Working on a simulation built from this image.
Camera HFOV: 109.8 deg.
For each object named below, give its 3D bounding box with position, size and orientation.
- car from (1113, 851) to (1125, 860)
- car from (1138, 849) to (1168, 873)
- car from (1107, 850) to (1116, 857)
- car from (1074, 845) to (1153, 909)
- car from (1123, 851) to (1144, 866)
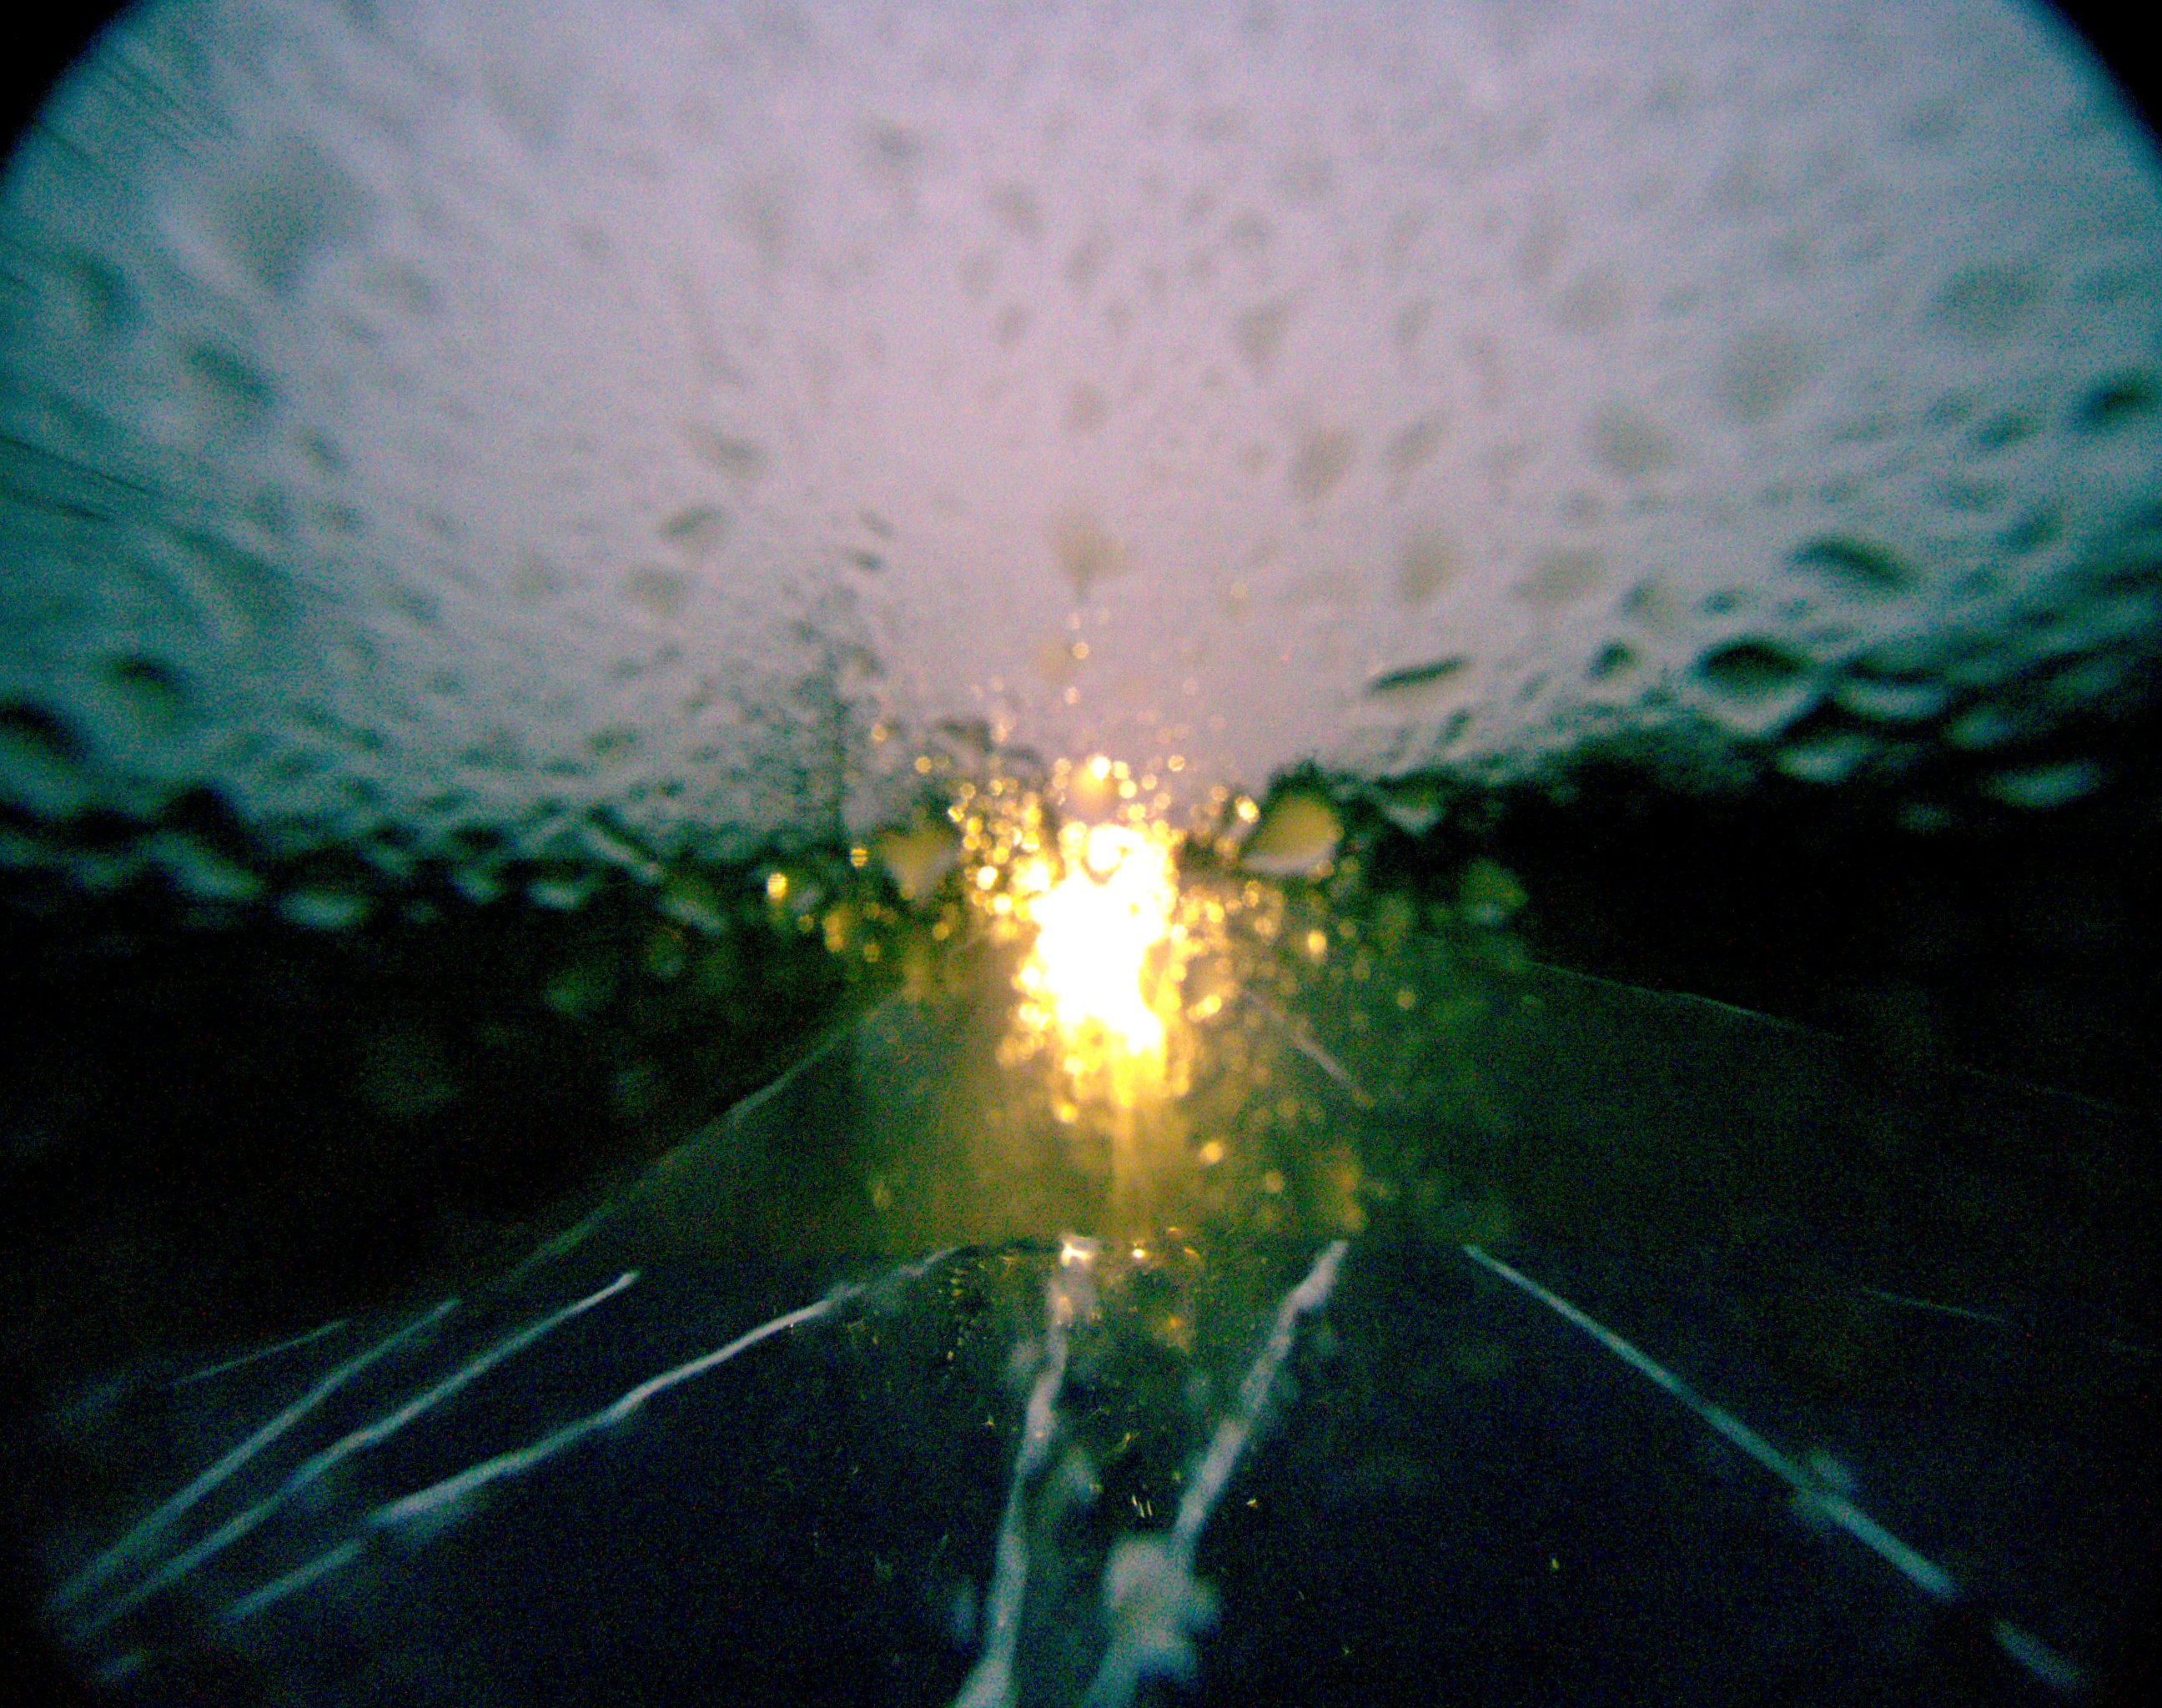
[{"bbox_3d":[6.125,0.194,122.811,1.755,1.465,3.891,-2,0,1],"label":"car"},{"bbox_3d":[5.173,0.465,54.996,1.763,1.631,4.686,-2,0,2],"label":"car"},{"bbox_3d":[7.356,-0.116,185.342,1.821,1.433,3.457,-2,0,8],"label":"car"},{"bbox_3d":[1.017,0.595,21.777,1.998,1.601,4.001,-2,0,5],"label":"car"},{"bbox_3d":[5.283,0.430,76.500,1.830,1.490,4.095,-2,0,0],"label":"car"}]
